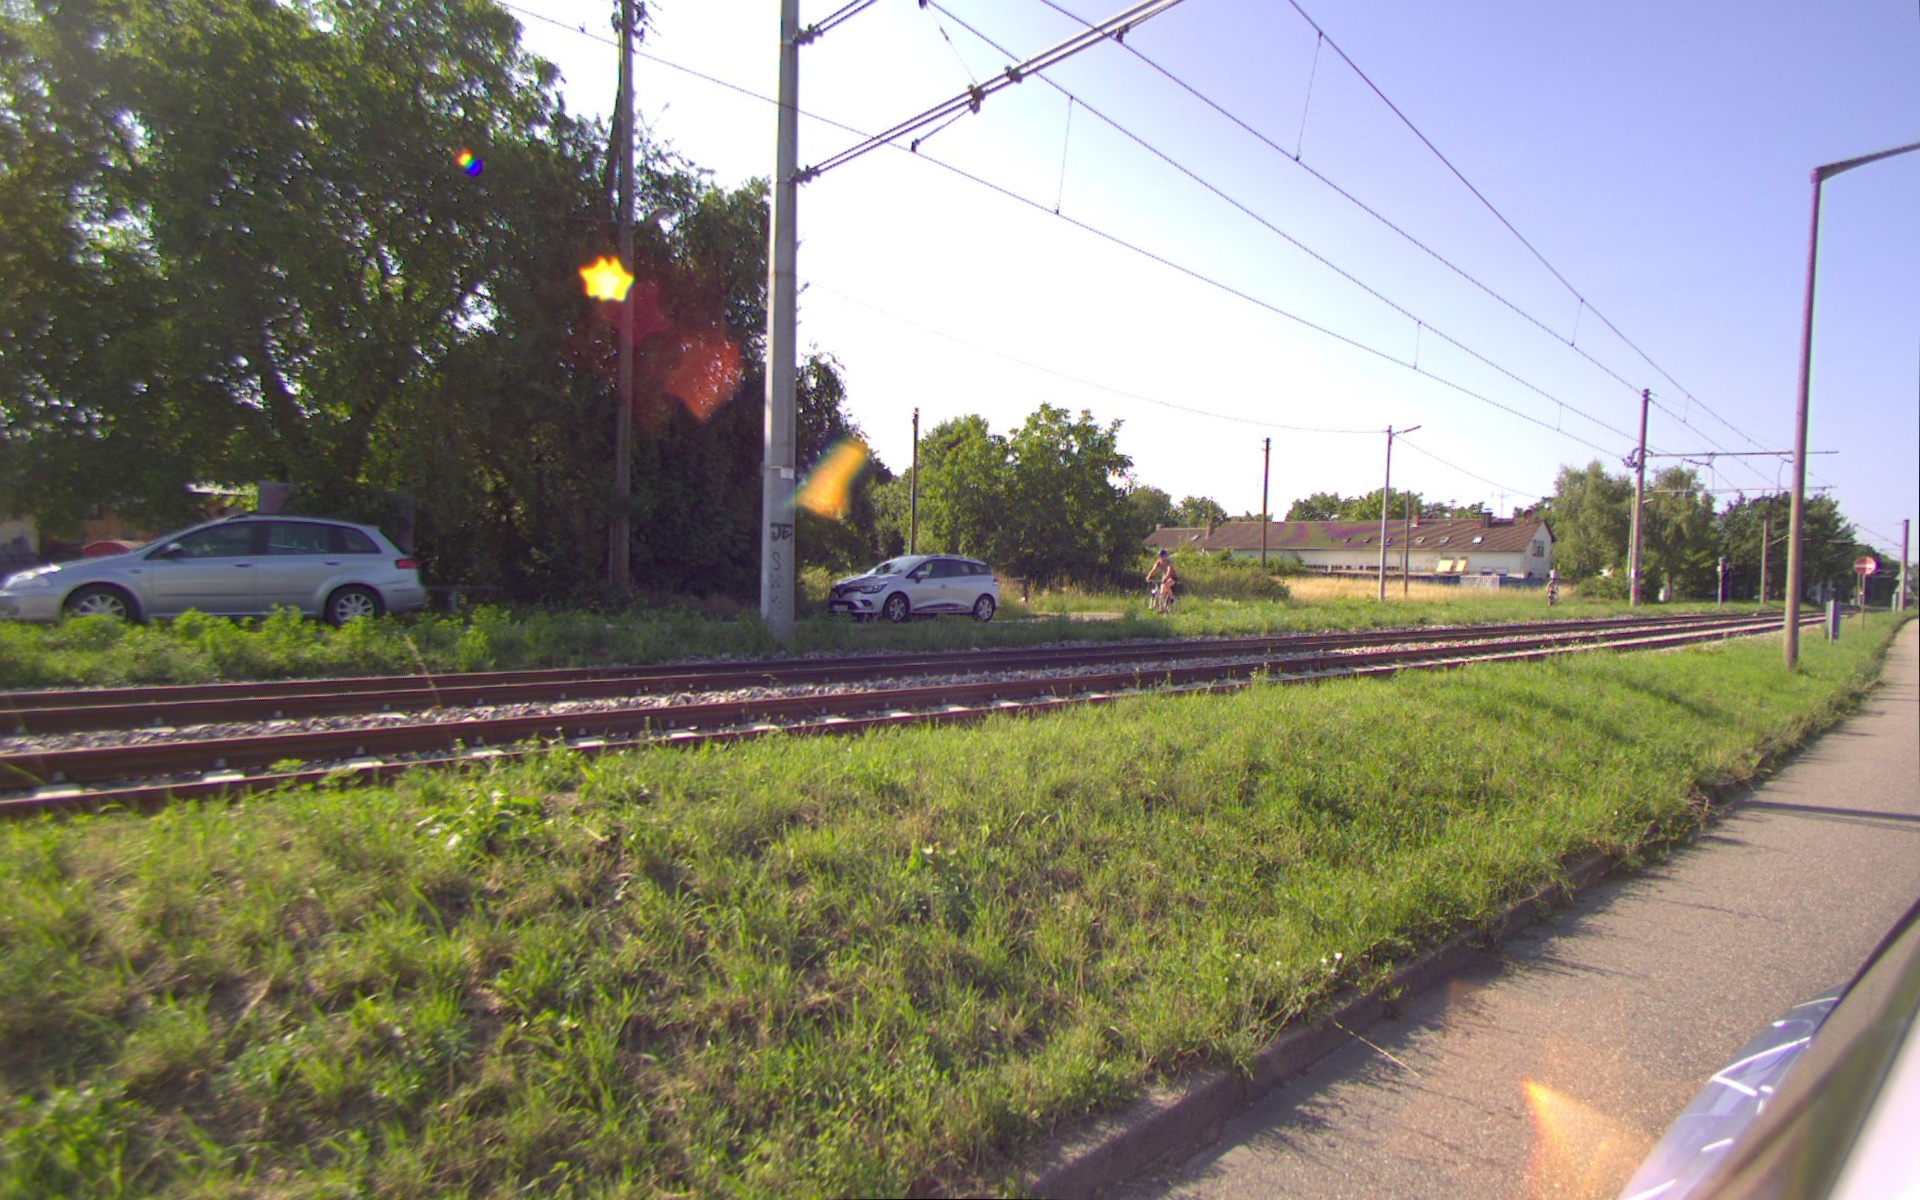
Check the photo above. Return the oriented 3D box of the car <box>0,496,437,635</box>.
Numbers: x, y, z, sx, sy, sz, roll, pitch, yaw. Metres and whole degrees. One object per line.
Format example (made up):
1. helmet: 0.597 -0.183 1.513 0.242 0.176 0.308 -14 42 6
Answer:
1. car: -9.903 -0.419 13.807 4.640 1.610 1.913 1 2 -38

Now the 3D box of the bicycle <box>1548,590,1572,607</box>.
1. bicycle: 33.825 -0.096 57.064 1.782 0.921 0.643 1 0 -42

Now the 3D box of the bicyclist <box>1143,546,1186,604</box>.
1. bicyclist: 5.170 -0.629 25.573 0.945 1.440 0.630 1 0 -42

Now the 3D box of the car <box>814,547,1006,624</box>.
1. car: -0.984 -0.299 21.581 4.063 1.466 1.536 0 2 -44

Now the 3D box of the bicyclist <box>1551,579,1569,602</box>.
1. bicyclist: 33.821 -0.540 57.058 0.778 1.248 0.640 1 0 -42

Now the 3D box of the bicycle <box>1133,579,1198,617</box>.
1. bicycle: 5.216 -0.050 25.627 1.812 0.921 0.644 0 1 -42
